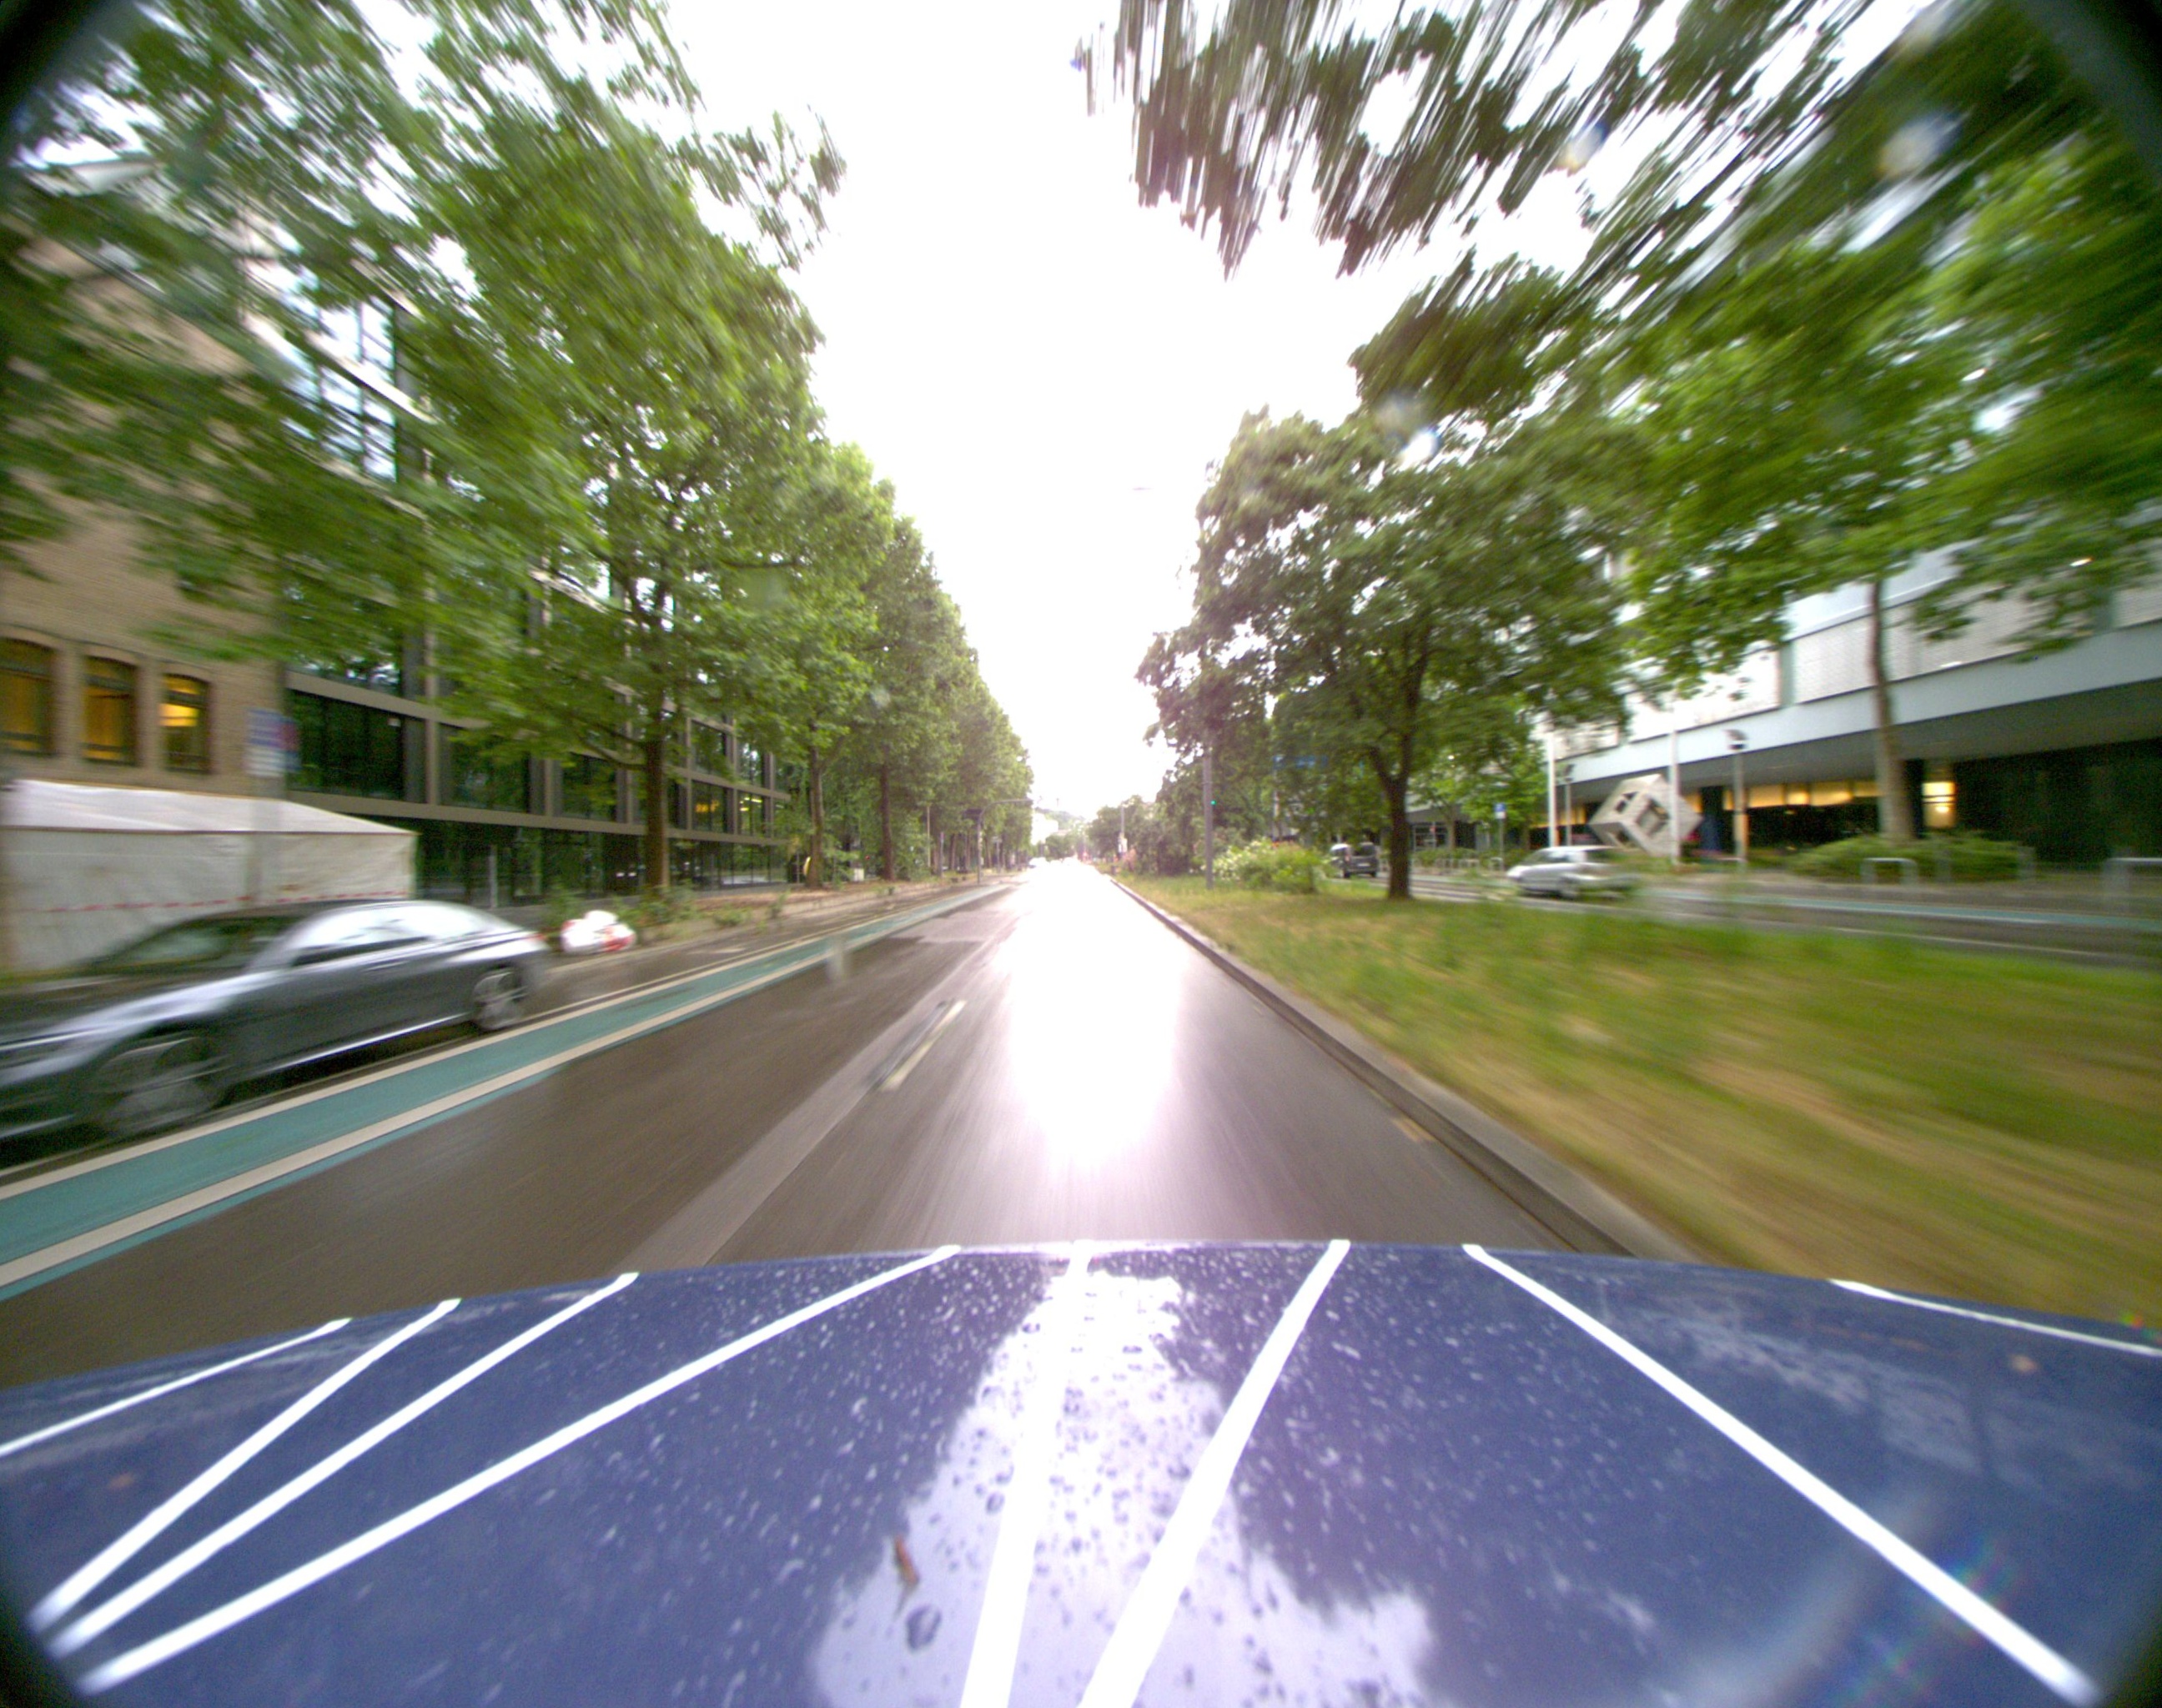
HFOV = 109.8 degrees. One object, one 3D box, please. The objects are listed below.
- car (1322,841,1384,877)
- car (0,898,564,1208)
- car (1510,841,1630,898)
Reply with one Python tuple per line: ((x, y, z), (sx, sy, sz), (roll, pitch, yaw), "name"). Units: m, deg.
((14.564, 0.252, 40.921), (1.998, 1.791, 4.282), (-1, 0, 3), "car")
((-6.798, 1.255, 6.322), (1.747, 1.424, 4.585), (-3, 0, 1), "car")
((13.600, 0.409, 21.342), (1.163, 1.454, 3.561), (-1, 0, 2), "car")
